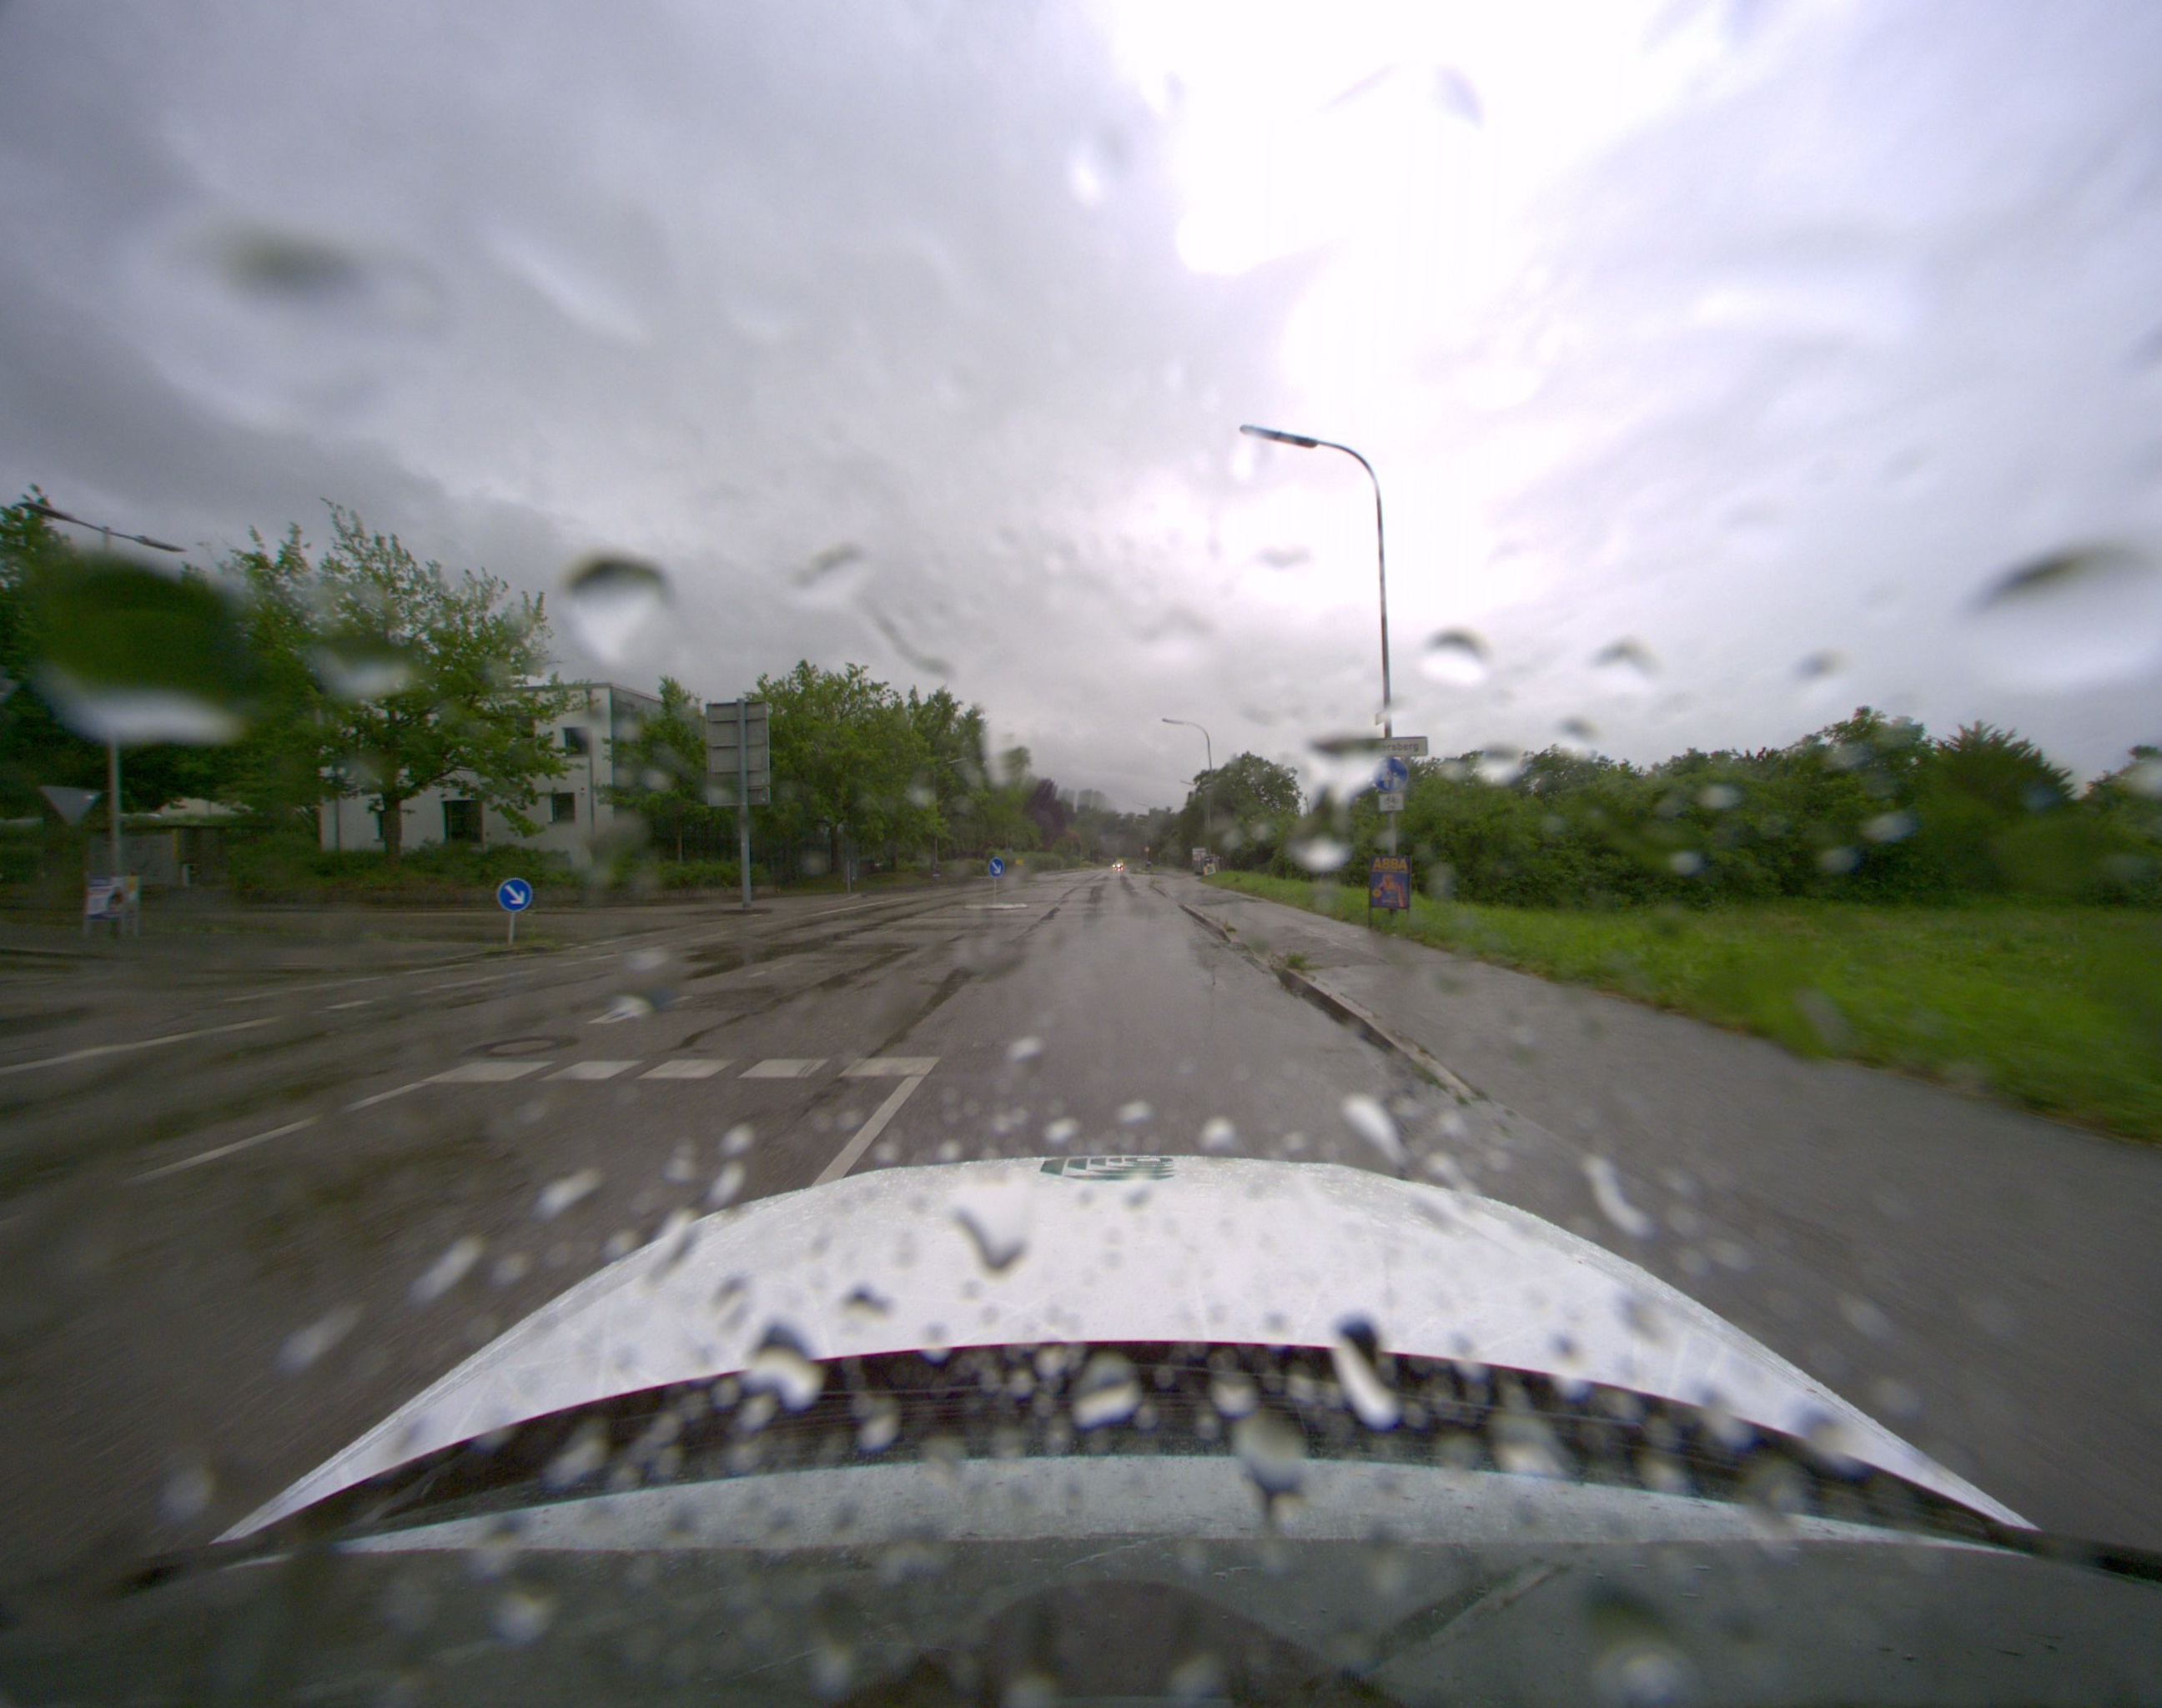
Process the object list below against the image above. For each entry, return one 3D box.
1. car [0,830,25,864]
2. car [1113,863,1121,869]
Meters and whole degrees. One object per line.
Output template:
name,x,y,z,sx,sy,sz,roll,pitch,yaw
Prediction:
car,-58.989,-0.388,42.454,1.976,1.762,4.420,2,1,23
car,8.131,2.652,183.563,1.694,1.349,3.909,-1,-1,4
